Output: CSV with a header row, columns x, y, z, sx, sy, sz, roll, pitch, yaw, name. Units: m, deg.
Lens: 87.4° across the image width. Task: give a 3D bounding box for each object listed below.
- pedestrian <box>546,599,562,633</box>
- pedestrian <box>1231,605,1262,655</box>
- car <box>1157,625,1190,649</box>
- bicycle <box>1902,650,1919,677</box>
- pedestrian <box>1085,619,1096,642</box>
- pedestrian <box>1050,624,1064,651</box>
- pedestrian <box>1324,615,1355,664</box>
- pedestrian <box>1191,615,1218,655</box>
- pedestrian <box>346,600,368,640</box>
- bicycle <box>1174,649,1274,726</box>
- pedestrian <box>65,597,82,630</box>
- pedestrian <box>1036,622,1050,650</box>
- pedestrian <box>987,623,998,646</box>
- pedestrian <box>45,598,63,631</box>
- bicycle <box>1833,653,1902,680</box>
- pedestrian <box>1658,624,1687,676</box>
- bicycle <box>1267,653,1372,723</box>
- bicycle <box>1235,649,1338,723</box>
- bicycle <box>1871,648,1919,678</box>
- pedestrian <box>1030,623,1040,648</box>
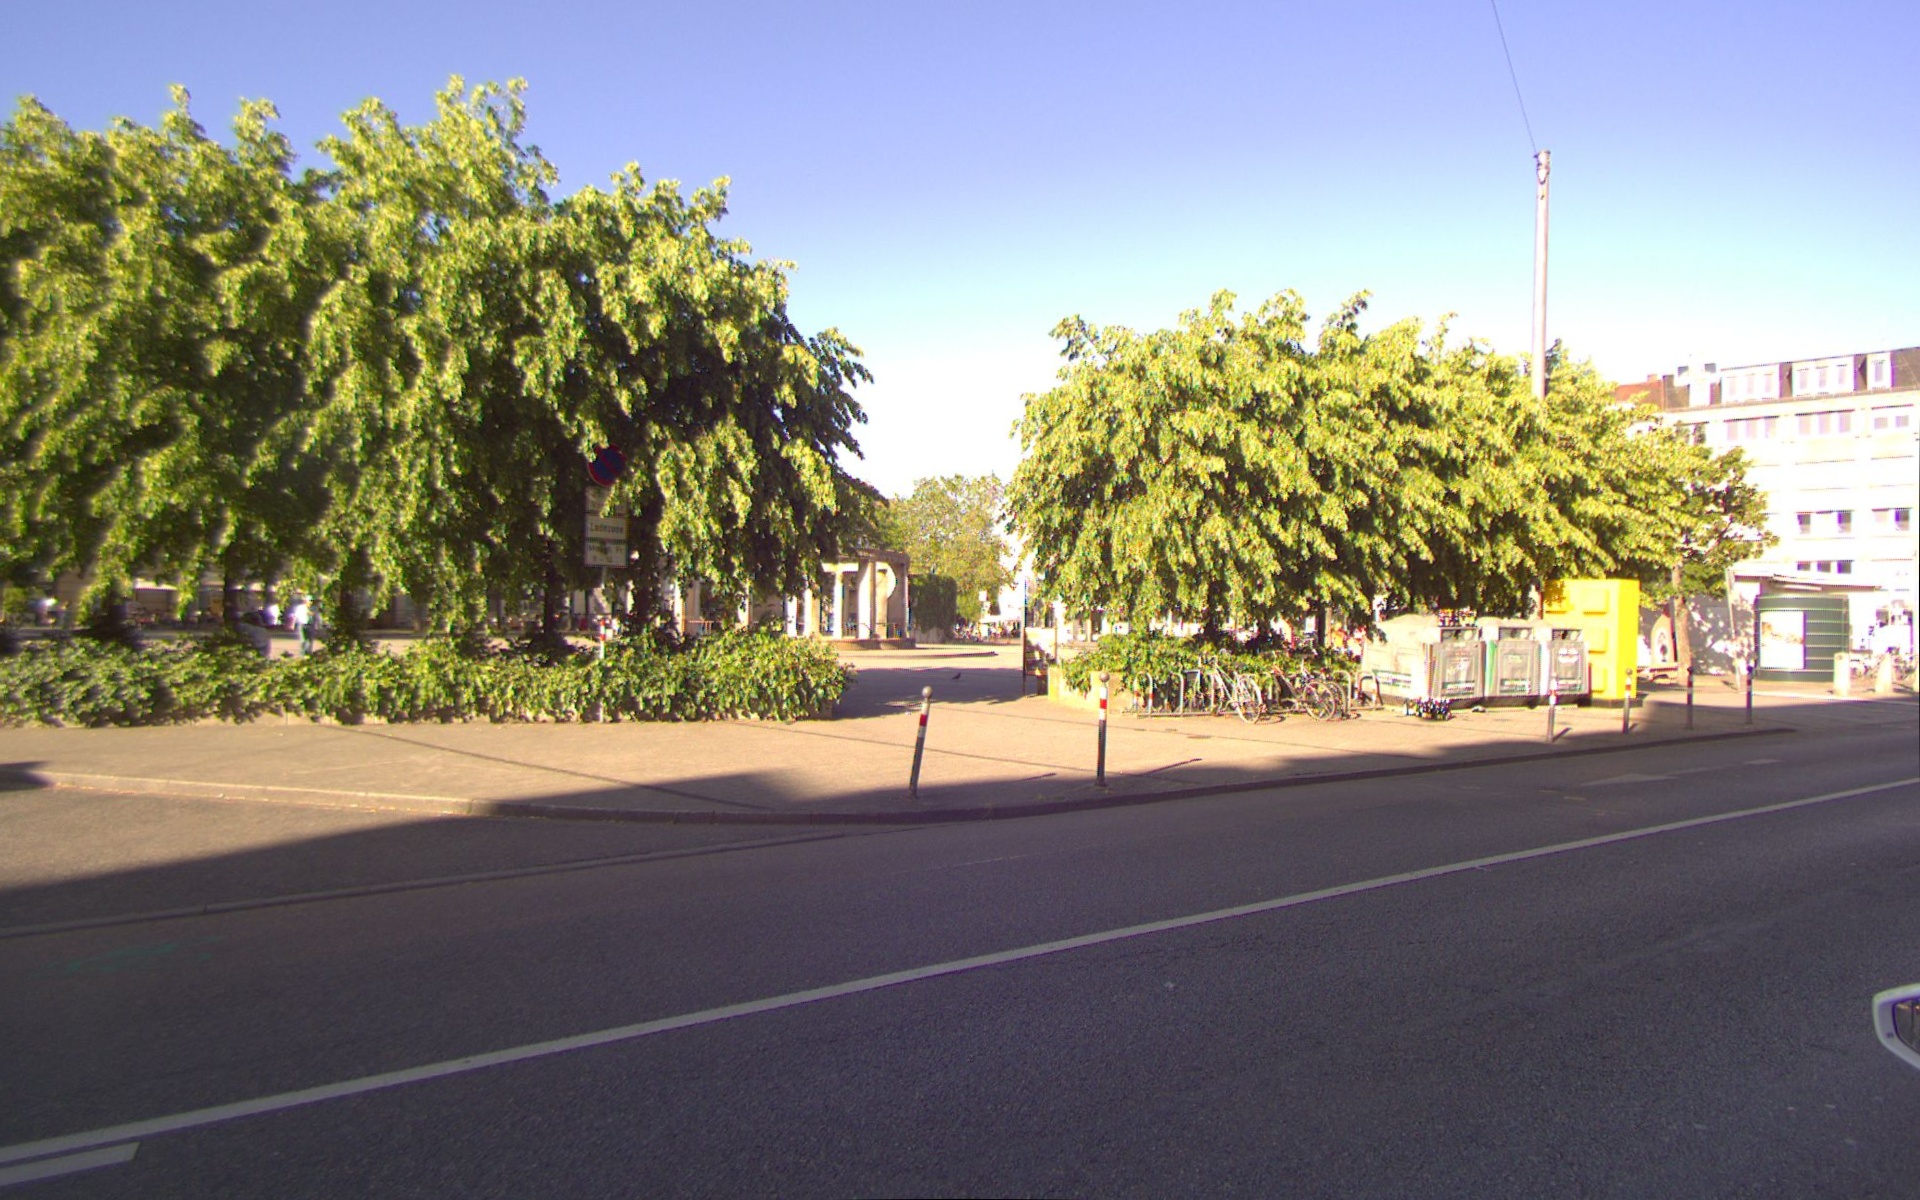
x,y,z,sx,sy,sz,roll,pitch,yaw,name
-23.393,0.914,57.851,0.669,1.974,0.634,2,0,-33,pedestrian
11.916,1.240,41.744,0.875,2.040,0.896,1,0,-17,pedestrian
13.949,2.395,65.680,1.658,1.405,3.575,1,-1,5,car
35.116,2.334,36.031,0.599,0.946,1.854,2,0,-30,bicycle
12.906,3.025,99.377,0.860,2.199,0.902,2,0,-5,pedestrian
7.426,2.850,77.250,0.860,2.040,0.902,2,0,-5,pedestrian
13.664,1.402,36.155,0.774,1.720,0.763,1,0,-6,pedestrian
12.706,1.796,52.166,1.014,2.040,1.159,1,0,-5,pedestrian
-26.757,0.907,44.575,0.599,1.744,0.644,2,0,37,pedestrian
4.075,1.328,15.659,0.508,1.029,1.930,2,0,-19,bicycle
-47.960,0.721,54.342,0.600,1.744,0.643,2,0,45,pedestrian
6.382,2.753,77.142,0.860,2.040,0.902,2,0,-5,pedestrian
2.944,3.142,91.939,0.860,2.040,0.902,2,0,-5,pedestrian
-49.087,0.773,54.415,0.600,1.744,0.643,2,0,45,pedestrian
30.824,2.246,34.133,0.600,0.802,1.634,2,0,-33,bicycle
24.626,1.730,34.705,0.701,1.739,0.474,2,0,-23,pedestrian
5.831,1.403,16.421,0.508,0.968,1.898,2,0,-20,bicycle
5.256,1.361,16.293,0.508,1.016,1.923,2,0,-20,bicycle
33.178,2.214,35.140,0.599,0.946,1.855,2,0,-30,bicycle
5.928,2.839,79.848,0.628,1.974,0.676,2,0,-7,pedestrian
